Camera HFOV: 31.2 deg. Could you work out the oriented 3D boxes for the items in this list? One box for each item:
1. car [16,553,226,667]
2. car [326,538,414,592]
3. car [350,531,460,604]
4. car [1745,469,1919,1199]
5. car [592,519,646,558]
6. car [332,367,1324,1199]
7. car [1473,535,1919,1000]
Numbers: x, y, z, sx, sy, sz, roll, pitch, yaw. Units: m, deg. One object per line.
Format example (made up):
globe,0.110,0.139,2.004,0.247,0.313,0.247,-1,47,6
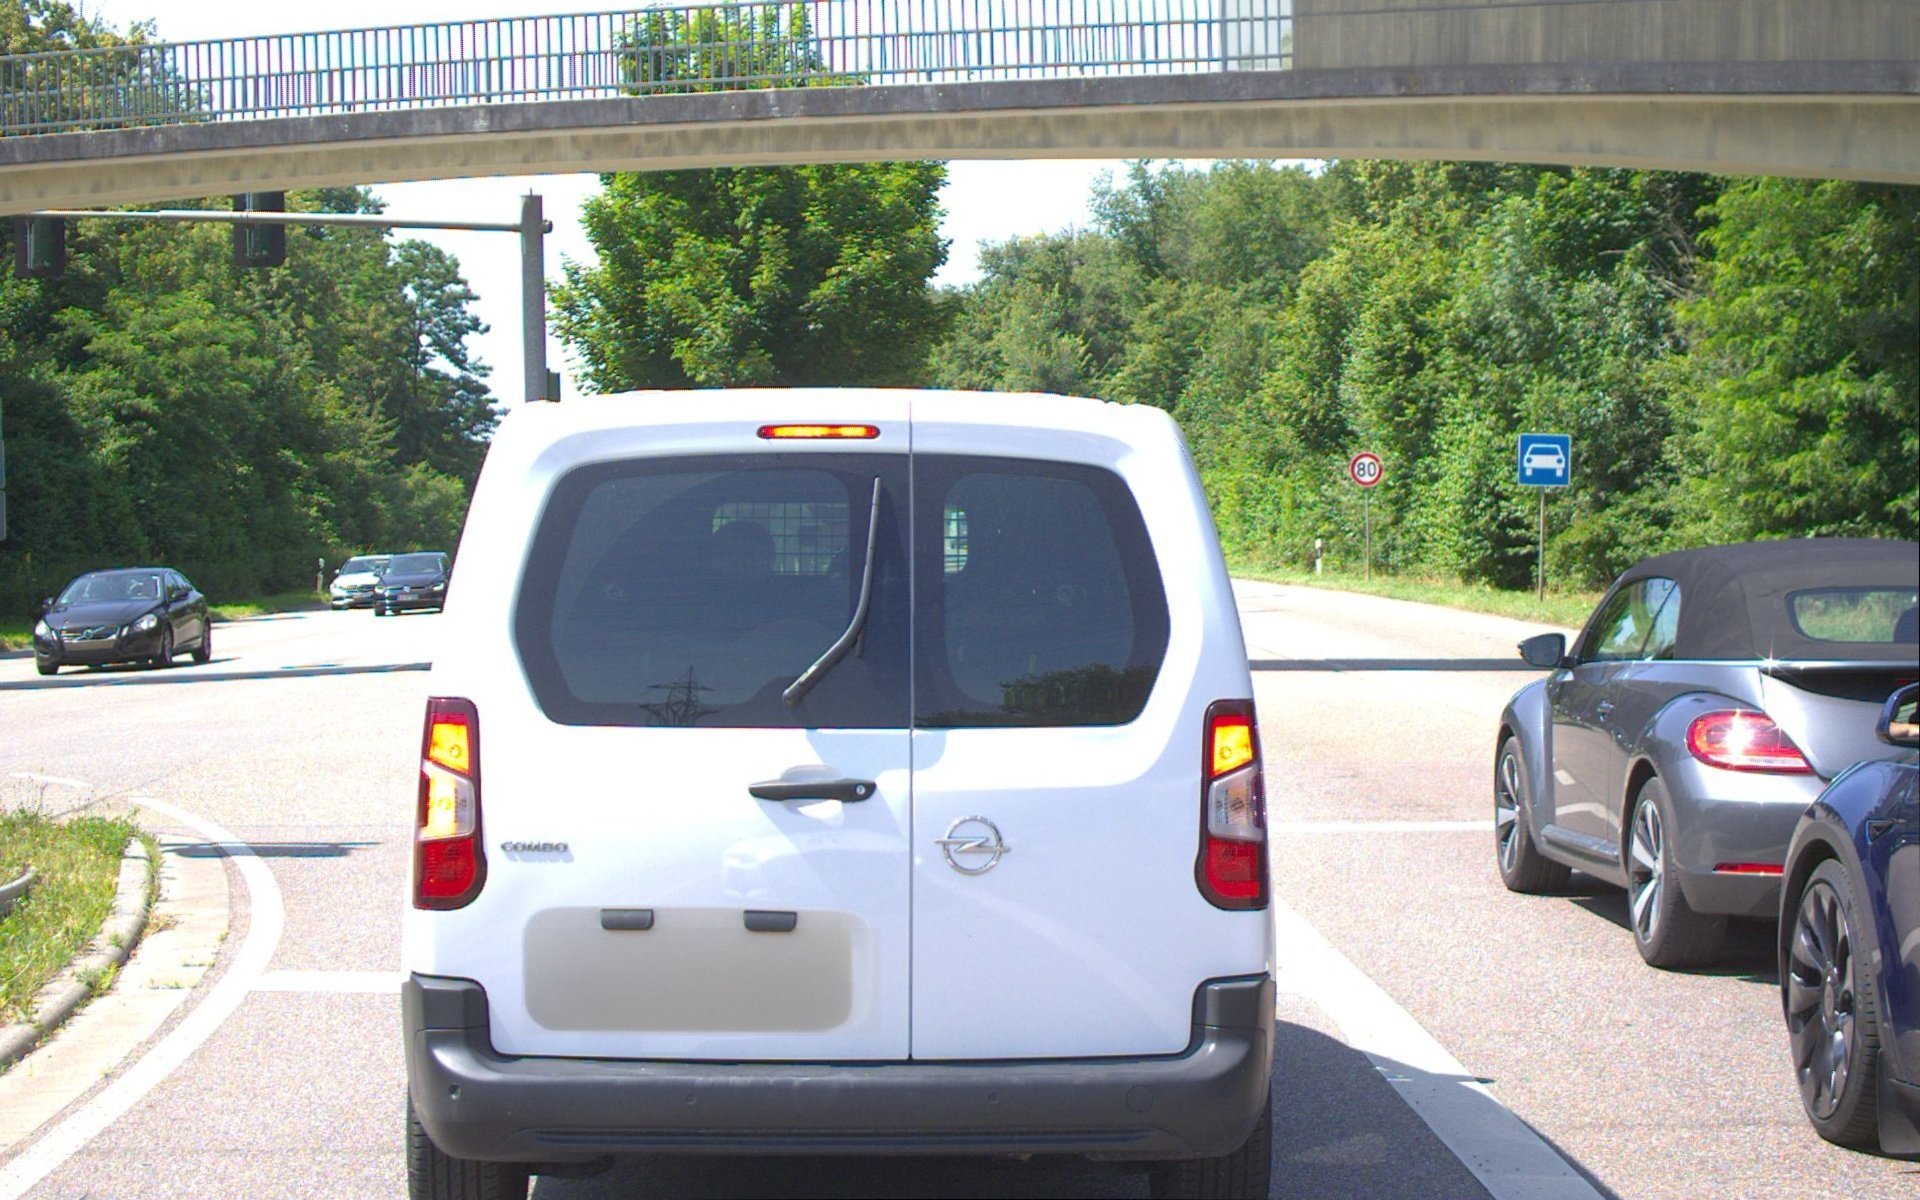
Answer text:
car,-11.933,0.109,49.164,2.008,1.455,4.055,-2,1,-1
car,-16.260,-0.978,94.967,1.752,1.402,4.000,-1,1,-1
car,-13.294,-0.795,82.566,1.993,1.659,4.000,-1,1,-1
car,3.054,0.559,6.796,1.900,1.639,4.520,1,1,-1
car,-15.165,-2.749,153.014,1.993,1.659,4.000,-1,1,-1
car,-0.302,0.418,8.459,1.849,1.819,3.982,1,2,-2
car,3.214,0.507,12.999,1.900,1.472,3.939,1,1,-1
